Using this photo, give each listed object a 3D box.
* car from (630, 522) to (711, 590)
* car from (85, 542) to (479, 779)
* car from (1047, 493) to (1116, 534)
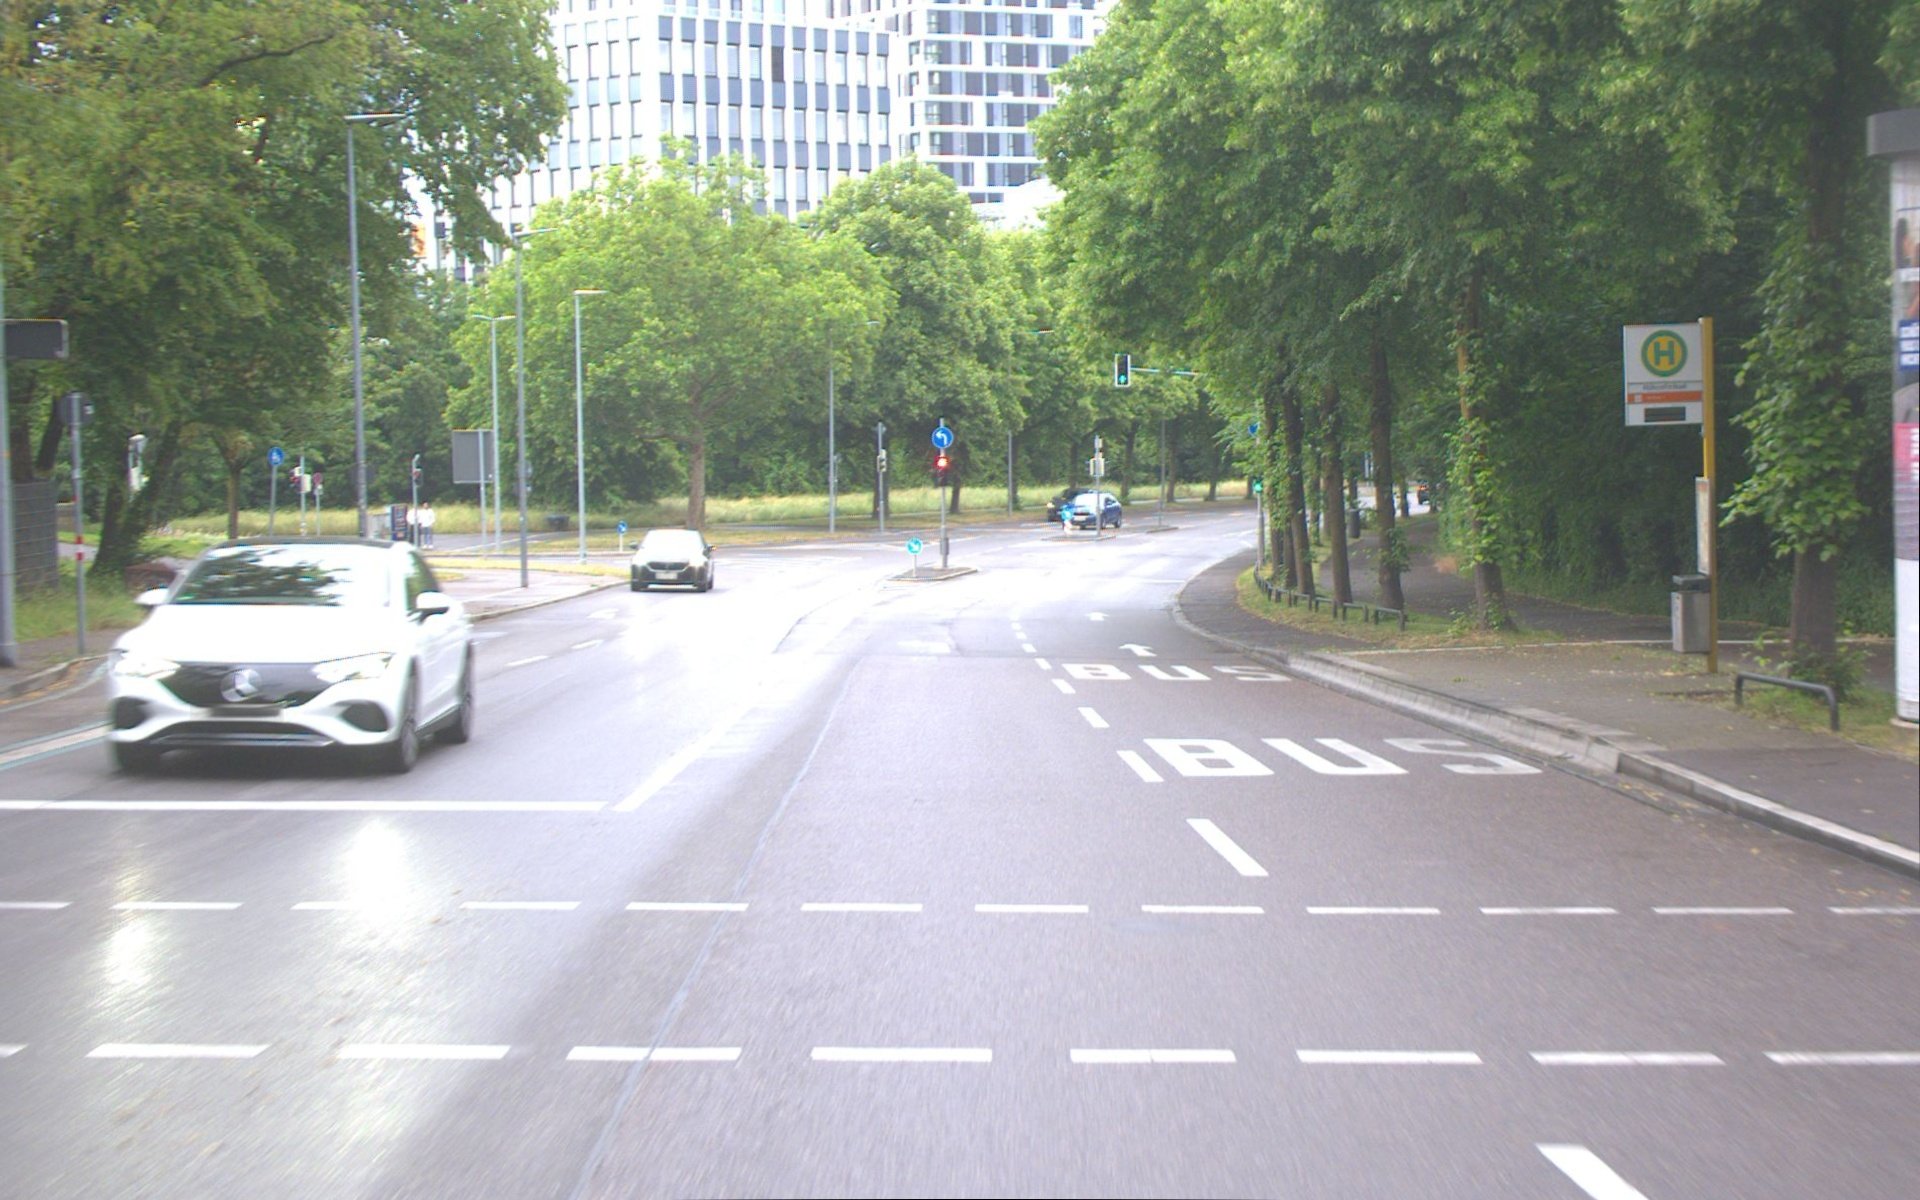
[{"bbox_3d":[-6.832,-1.060,81.383,1.601,1.437,4.001,1,3,-1],"label":"car"},{"bbox_3d":[-4.498,0.336,23.469,1.843,1.452,4.500,0,1,-1],"label":"car"},{"bbox_3d":[5.082,-3.600,143.160,1.995,1.680,3.997,0,1,15],"label":"car"}]
